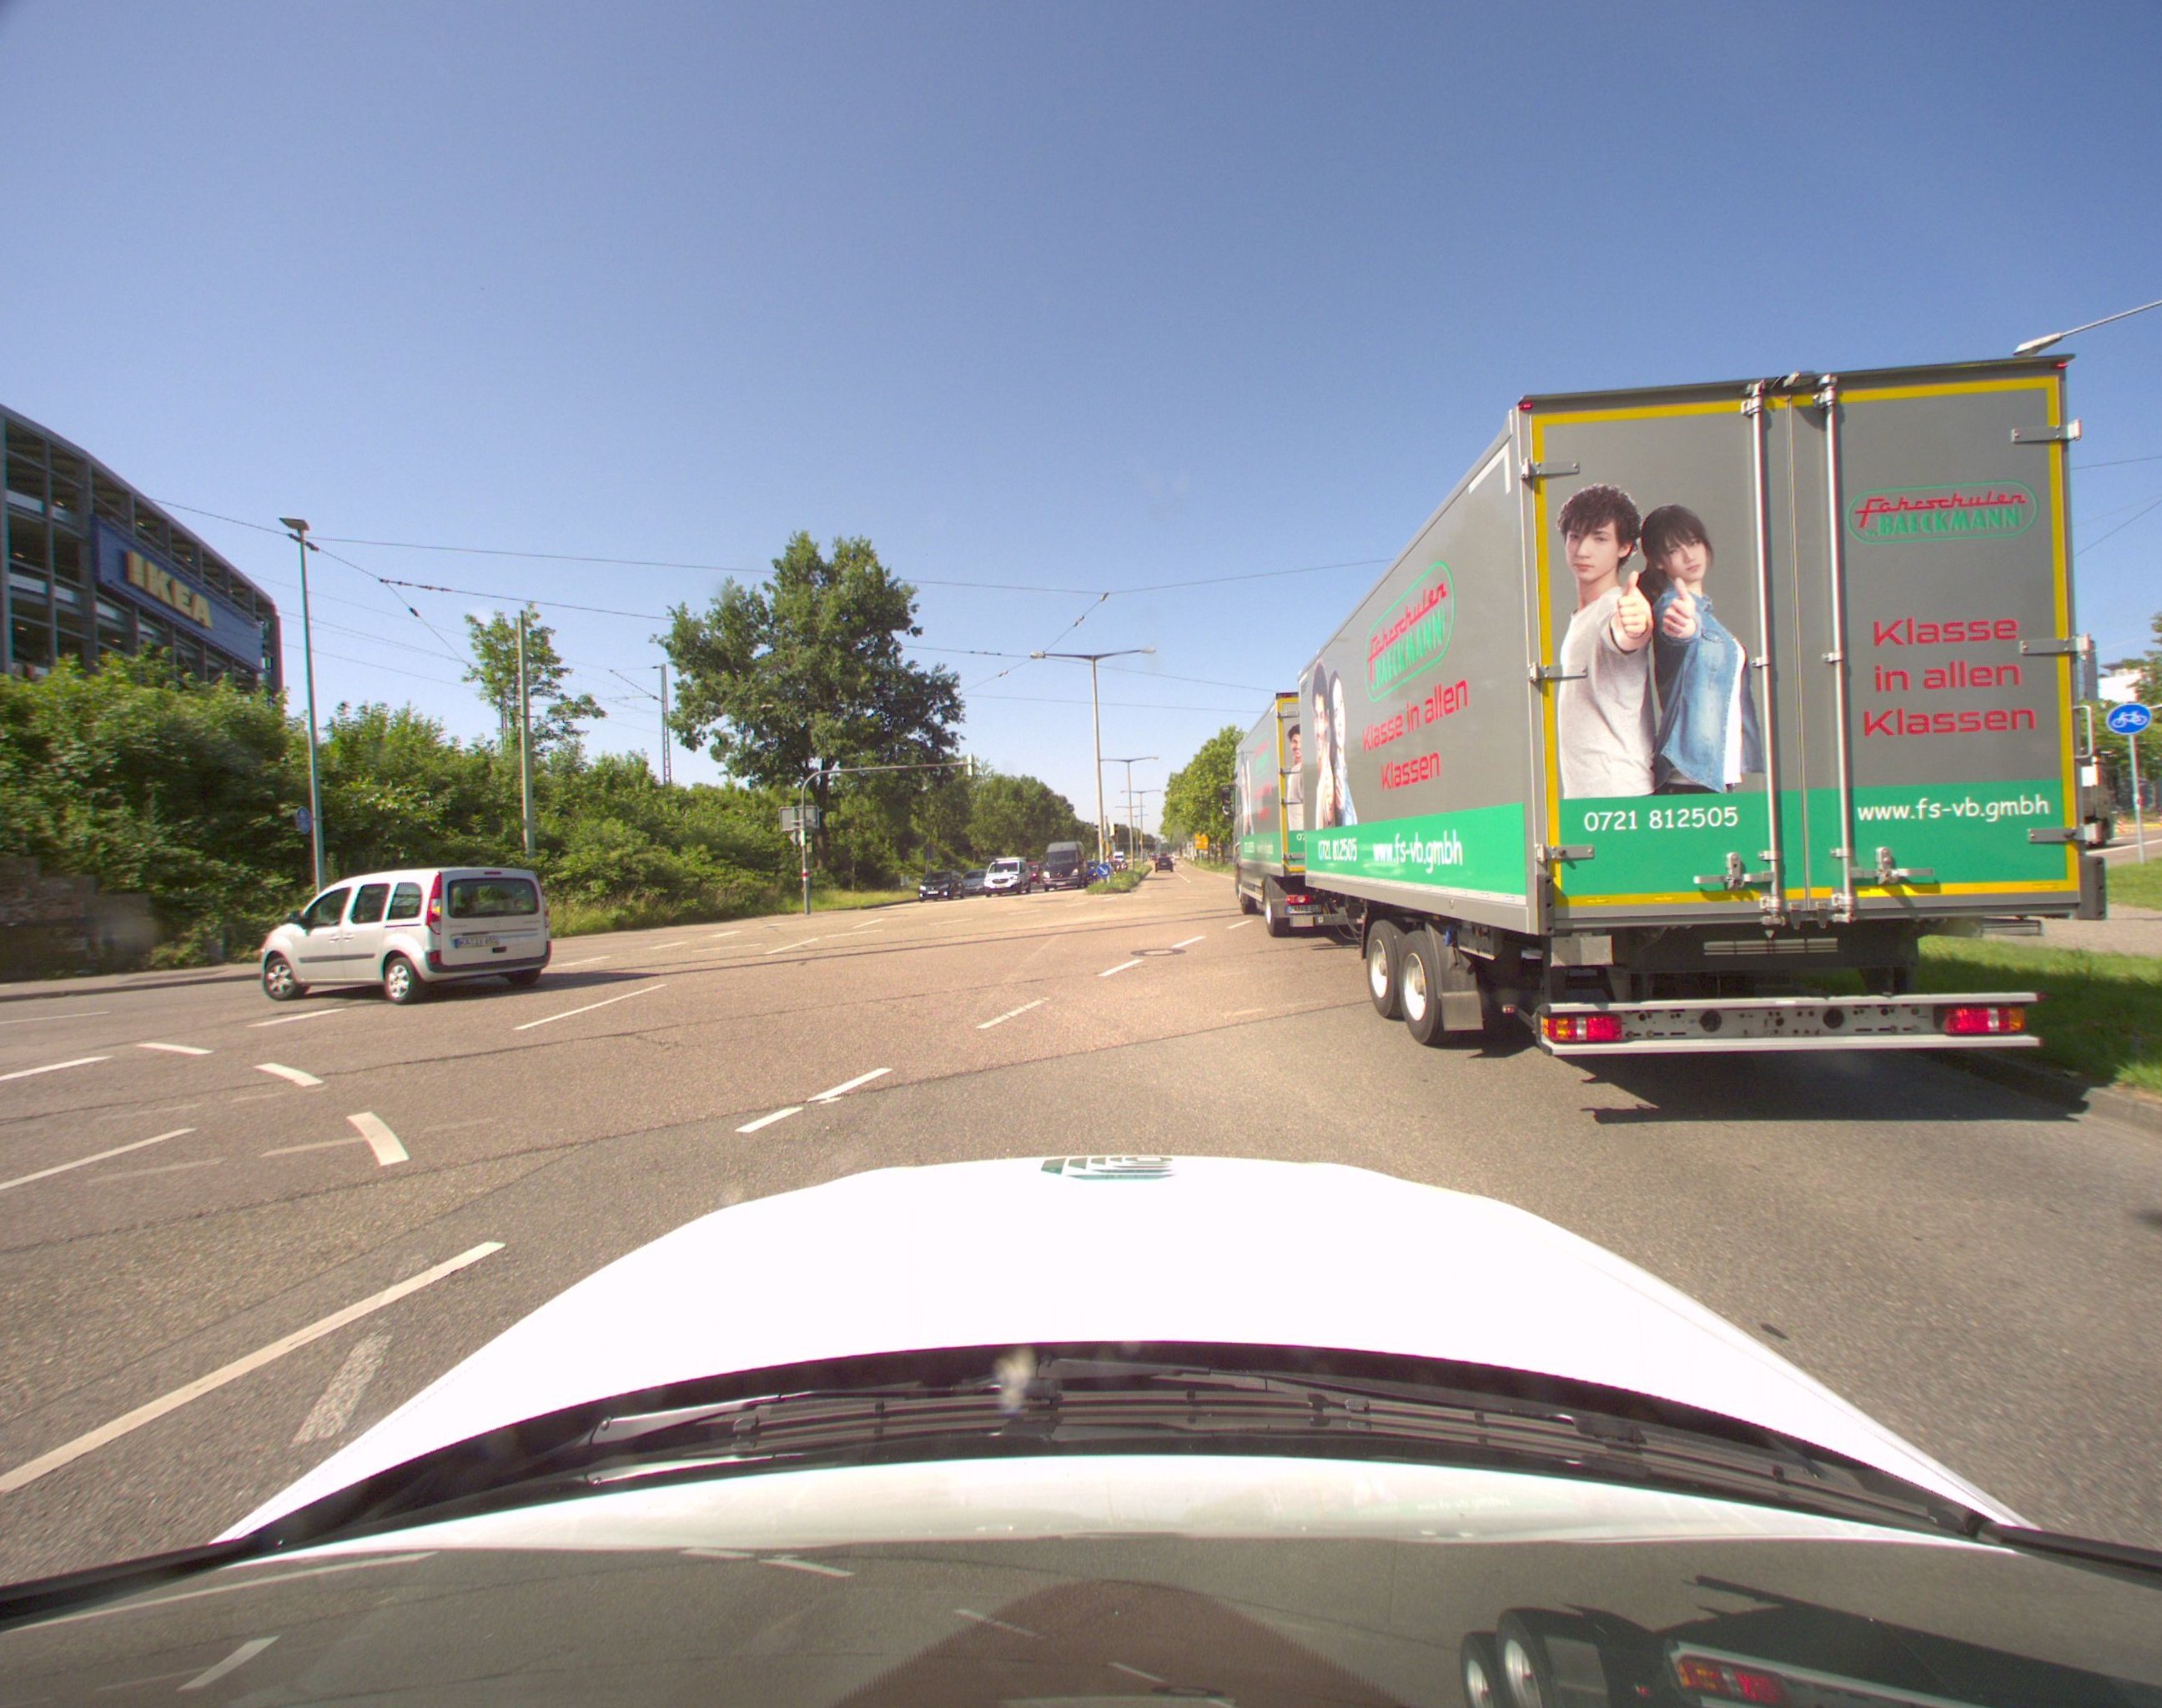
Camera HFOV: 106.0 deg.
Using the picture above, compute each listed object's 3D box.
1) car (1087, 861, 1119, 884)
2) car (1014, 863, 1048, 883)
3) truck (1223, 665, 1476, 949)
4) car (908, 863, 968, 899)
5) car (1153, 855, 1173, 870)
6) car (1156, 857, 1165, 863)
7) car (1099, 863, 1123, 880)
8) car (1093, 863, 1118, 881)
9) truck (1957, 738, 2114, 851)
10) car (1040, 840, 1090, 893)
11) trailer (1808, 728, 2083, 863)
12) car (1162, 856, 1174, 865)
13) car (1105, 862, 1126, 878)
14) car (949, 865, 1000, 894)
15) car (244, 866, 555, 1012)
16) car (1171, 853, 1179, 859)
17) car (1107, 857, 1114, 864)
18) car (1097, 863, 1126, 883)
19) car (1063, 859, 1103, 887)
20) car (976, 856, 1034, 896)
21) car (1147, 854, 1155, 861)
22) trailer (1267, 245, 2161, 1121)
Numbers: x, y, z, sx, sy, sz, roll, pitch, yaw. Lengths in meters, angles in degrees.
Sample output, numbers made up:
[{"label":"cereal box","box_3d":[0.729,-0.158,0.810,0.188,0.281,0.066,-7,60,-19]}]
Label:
[{"label":"car","box_3d":[1.612,1.344,58.978,1.983,1.585,4.007,0,-1,6]},{"label":"car","box_3d":[-4.050,1.568,66.582,1.983,1.585,4.464,0,-1,6]},{"label":"truck","box_3d":[4.511,-0.583,15.779,2.716,3.890,8.736,-2,-1,6]},{"label":"car","box_3d":[-7.007,1.296,40.250,1.902,1.641,3.743,-3,-1,6]},{"label":"car","box_3d":[8.762,0.899,86.610,1.983,1.585,4.464,0,-1,6]},{"label":"car","box_3d":[20.265,1.477,207.324,1.983,1.585,4.464,0,-1,6]},{"label":"car","box_3d":[2.971,1.738,80.115,1.983,1.585,4.007,0,-1,6]},{"label":"car","box_3d":[2.243,1.625,74.384,1.984,1.640,4.006,0,-1,5]},{"label":"truck","box_3d":[35.766,-2.153,30.515,5.119,3.827,2.773,-2,0,-29]},{"label":"car","box_3d":[-0.807,0.687,44.383,1.983,2.607,5.142,-3,-1,6]},{"label":"trailer","box_3d":[28.794,-1.882,26.901,11.875,3.773,2.791,-3,-1,-27]},{"label":"car","box_3d":[15.142,1.163,141.903,1.983,1.585,4.464,0,-1,6]},{"label":"car","box_3d":[3.663,1.674,85.674,1.984,1.640,4.006,0,-1,5]},{"label":"car","box_3d":[-6.150,1.473,47.505,1.983,1.540,4.243,-3,-1,6]},{"label":"car","box_3d":[-9.890,1.106,11.848,3.952,1.838,1.802,-1,-1,22]},{"label":"car","box_3d":[24.858,0.454,215.582,1.983,1.585,4.464,0,-1,6]},{"label":"car","box_3d":[8.368,1.835,229.493,1.879,2.014,4.006,0,-1,5]},{"label":"car","box_3d":[2.468,1.502,64.865,1.983,1.585,4.007,0,-1,6]},{"label":"car","box_3d":[0.164,1.167,51.431,1.983,1.585,4.007,-3,-1,6]},{"label":"car","box_3d":[-3.815,1.112,41.828,1.983,1.870,4.781,-3,-1,6]},{"label":"car","box_3d":[17.878,0.911,207.510,1.983,1.585,4.464,0,-1,6]},{"label":"trailer","box_3d":[3.704,-0.692,7.565,2.723,3.877,7.746,-2,-1,5]}]
